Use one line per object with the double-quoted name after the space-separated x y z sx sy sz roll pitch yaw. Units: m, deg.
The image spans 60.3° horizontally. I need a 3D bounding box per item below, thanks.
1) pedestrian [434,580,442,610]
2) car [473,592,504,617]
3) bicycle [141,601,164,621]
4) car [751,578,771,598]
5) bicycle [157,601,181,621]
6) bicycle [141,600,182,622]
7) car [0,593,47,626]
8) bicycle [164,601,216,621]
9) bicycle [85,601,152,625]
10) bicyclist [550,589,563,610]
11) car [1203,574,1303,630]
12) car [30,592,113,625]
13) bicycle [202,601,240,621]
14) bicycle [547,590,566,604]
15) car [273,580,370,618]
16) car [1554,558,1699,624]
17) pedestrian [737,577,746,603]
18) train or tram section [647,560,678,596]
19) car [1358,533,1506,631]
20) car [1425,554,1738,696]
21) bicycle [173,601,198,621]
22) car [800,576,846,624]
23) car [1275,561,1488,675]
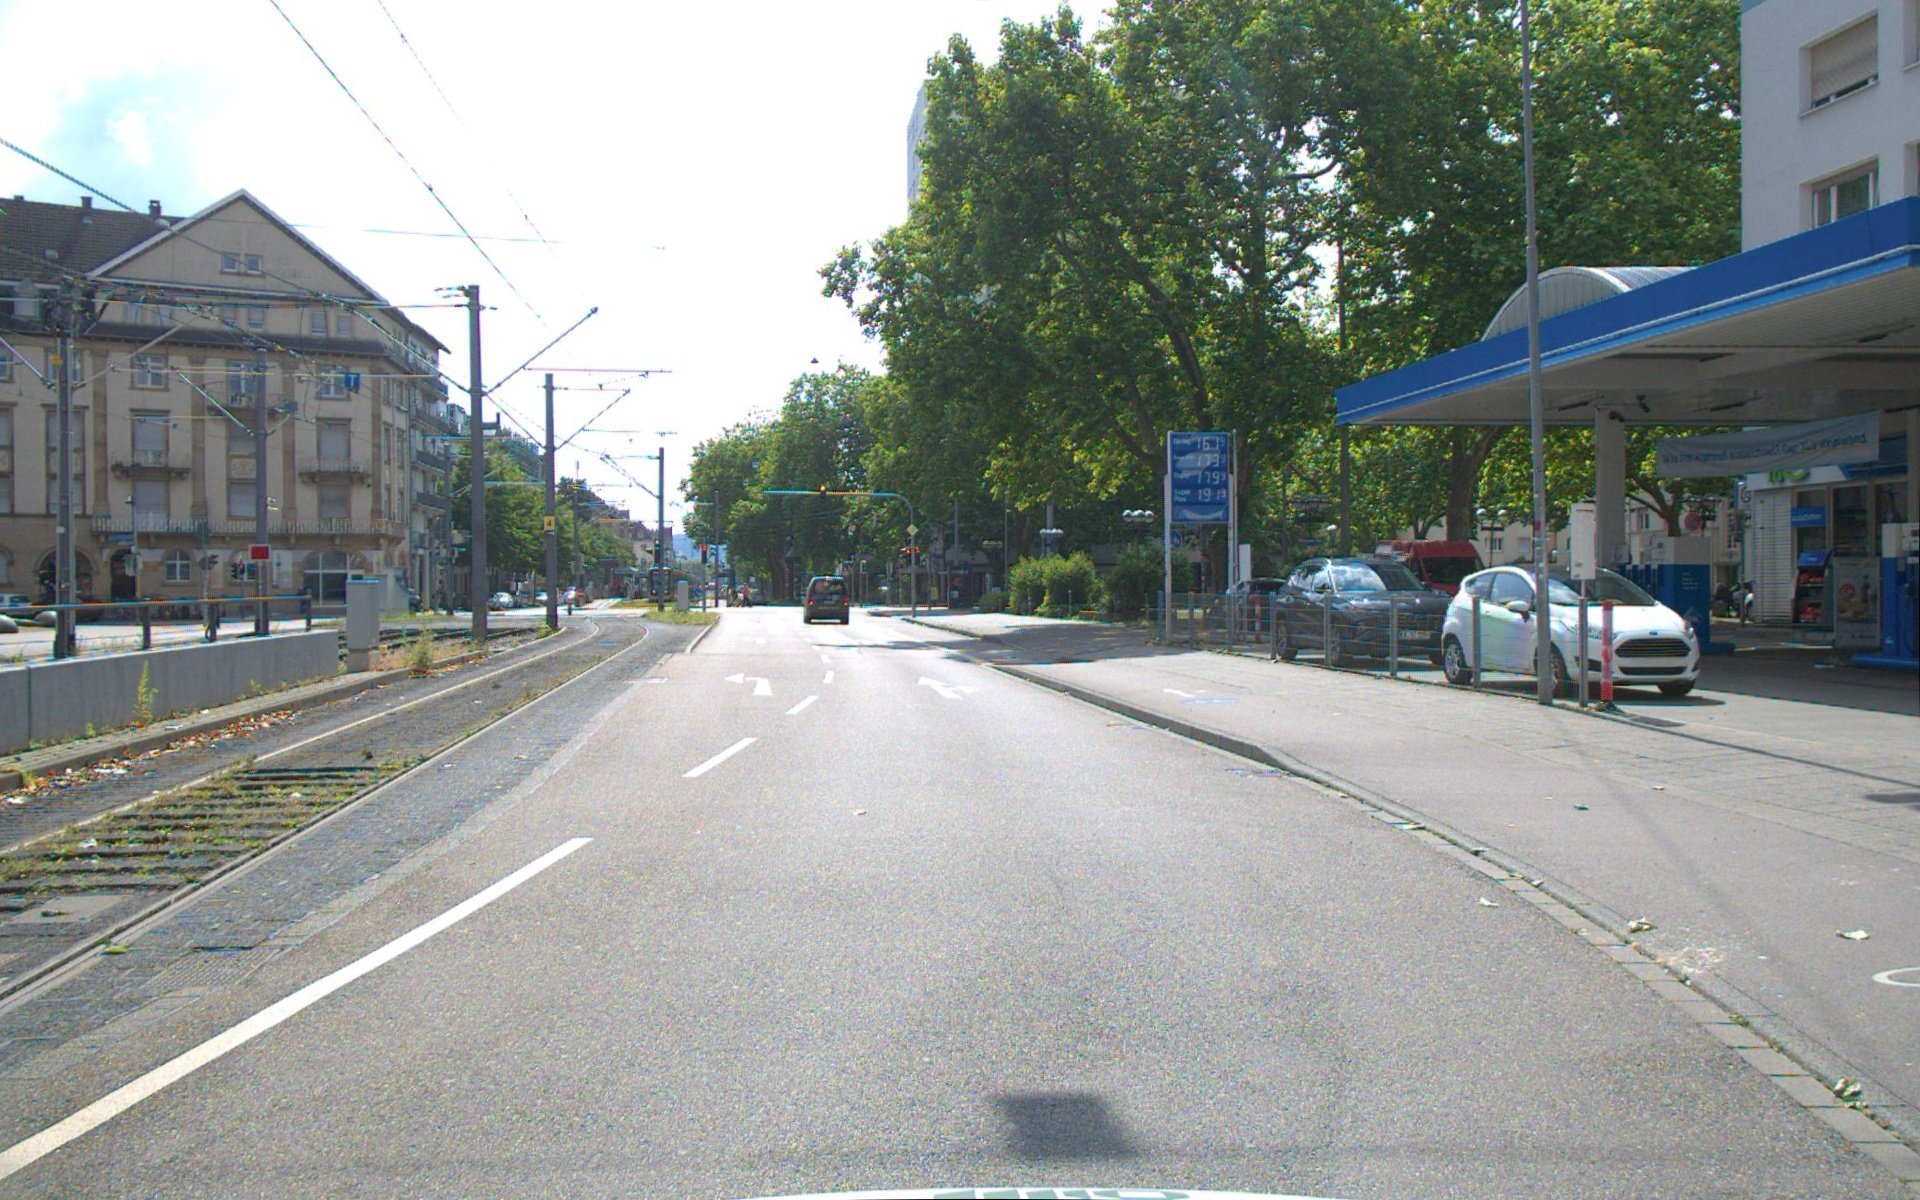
-35.983 -0.348 113.996 0.469 2.049 0.418 -1 0 -12 "pedestrian"
-40.826 0.366 143.345 1.956 2.049 3.994 -1 0 -7 "car"
-44.434 0.575 91.022 0.734 1.071 2.533 -1 0 -36 "bicycle"
-18.746 -1.122 155.448 1.828 1.783 3.994 -1 1 -7 "car"
-43.751 0.580 91.469 0.797 1.071 2.533 -1 0 -36 "bicycle"
-42.958 0.591 88.998 1.961 1.134 0.479 -1 0 -44 "bicycle"
-49.992 0.492 86.440 3.903 1.668 1.804 -1 0 17 "car"
-42.140 0.596 90.531 2.536 1.071 0.674 -1 0 -35 "bicycle"
-45.366 0.703 89.216 3.239 1.275 1.000 -1 0 9 "bicycle"
-31.204 -0.045 127.924 0.762 1.538 1.001 -1 0 0 "bicyclist"
8.250 0.025 46.881 1.618 1.496 4.035 -1 1 -8 "car"
-47.216 0.440 87.891 3.908 1.703 1.999 -1 0 26 "car"
-41.511 0.587 92.950 0.786 1.071 2.568 -1 0 5 "bicycle"
-31.232 -0.246 128.119 0.875 1.066 2.309 -1 1 1 "bicycle"
-35.440 -0.078 91.830 4.746 2.049 1.977 -1 1 -33 "car"
19.251 -0.268 48.018 1.967 1.785 4.647 1 0 -6 "car"
-15.232 -0.685 115.287 0.646 1.815 0.659 -1 0 -7 "pedestrian"
-29.326 -2.146 163.223 2.198 3.389 12.952 -1 0 -7 "train or tram section"
13.578 -0.516 48.008 2.071 2.627 6.012 -1 1 -5 "car"
7.120 0.242 19.413 1.772 1.481 3.994 0 0 -8 "car"
-43.064 0.585 91.973 0.797 1.071 2.533 -1 0 -36 "bicycle"
-5.516 -0.018 66.406 1.717 1.840 3.470 1 0 -7 "car"
6.495 0.237 26.024 1.771 1.630 4.576 0 0 -6 "car"
